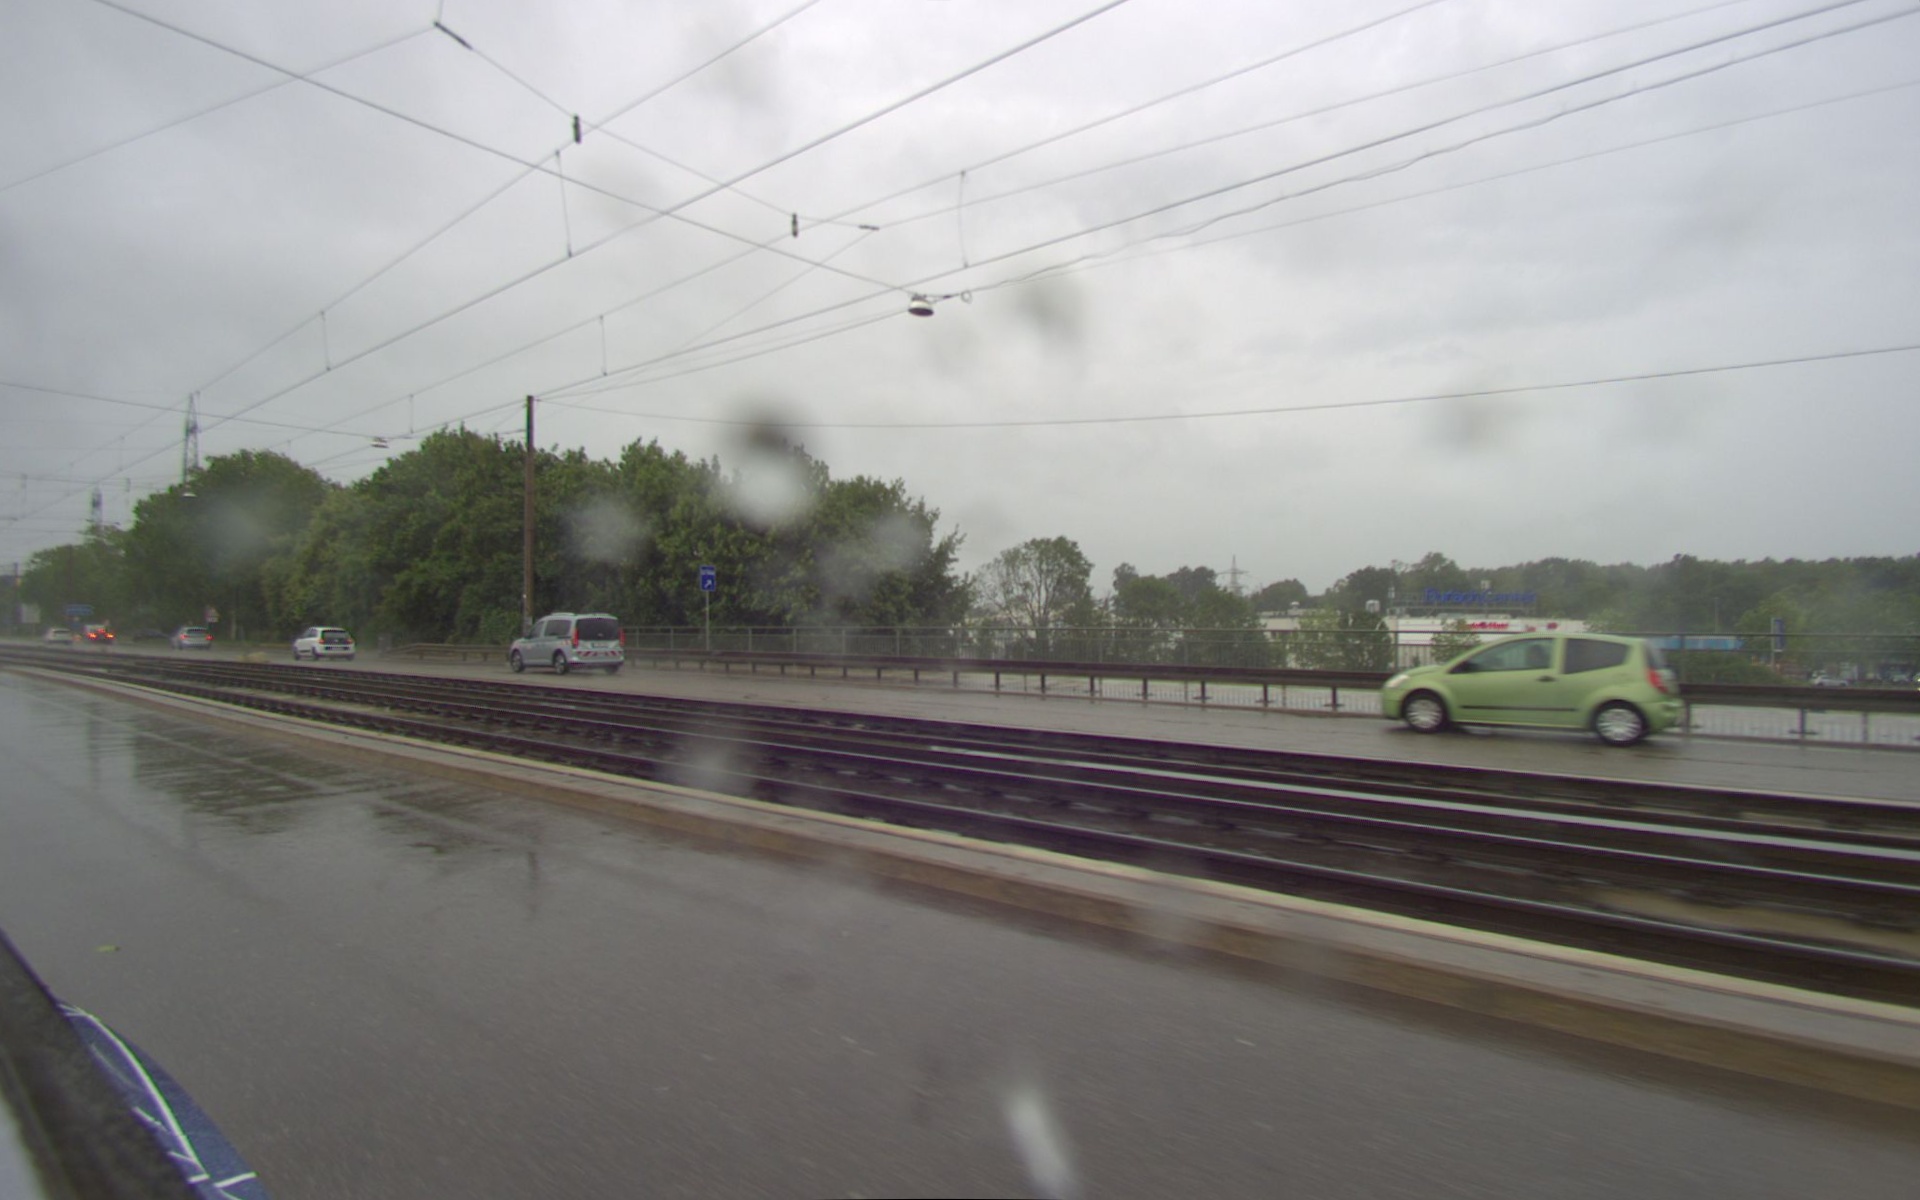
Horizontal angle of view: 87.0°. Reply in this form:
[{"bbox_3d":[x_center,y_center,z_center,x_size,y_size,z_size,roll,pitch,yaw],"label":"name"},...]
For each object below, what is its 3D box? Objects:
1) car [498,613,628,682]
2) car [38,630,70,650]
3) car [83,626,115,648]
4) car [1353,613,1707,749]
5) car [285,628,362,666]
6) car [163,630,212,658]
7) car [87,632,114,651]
[{"bbox_3d":[-12.163,1.384,30.871,4.392,1.845,1.829,-1,2,41],"label":"car"},{"bbox_3d":[-83.931,3.698,93.750,3.669,1.642,1.754,-1,2,41],"label":"car"},{"bbox_3d":[-92.997,3.984,109.277,4.146,2.119,2.162,-1,2,43],"label":"car"},{"bbox_3d":[7.804,0.994,14.059,3.998,1.606,1.827,-1,-1,41],"label":"car"},{"bbox_3d":[-29.813,2.166,47.360,3.998,1.630,1.973,-1,-2,41],"label":"car"},{"bbox_3d":[-54.911,3.101,71.910,4.659,1.724,1.814,-1,2,41],"label":"car"},{"bbox_3d":[-85.538,4.135,100.723,1.753,1.642,3.673,-4,2,-45],"label":"car"}]
